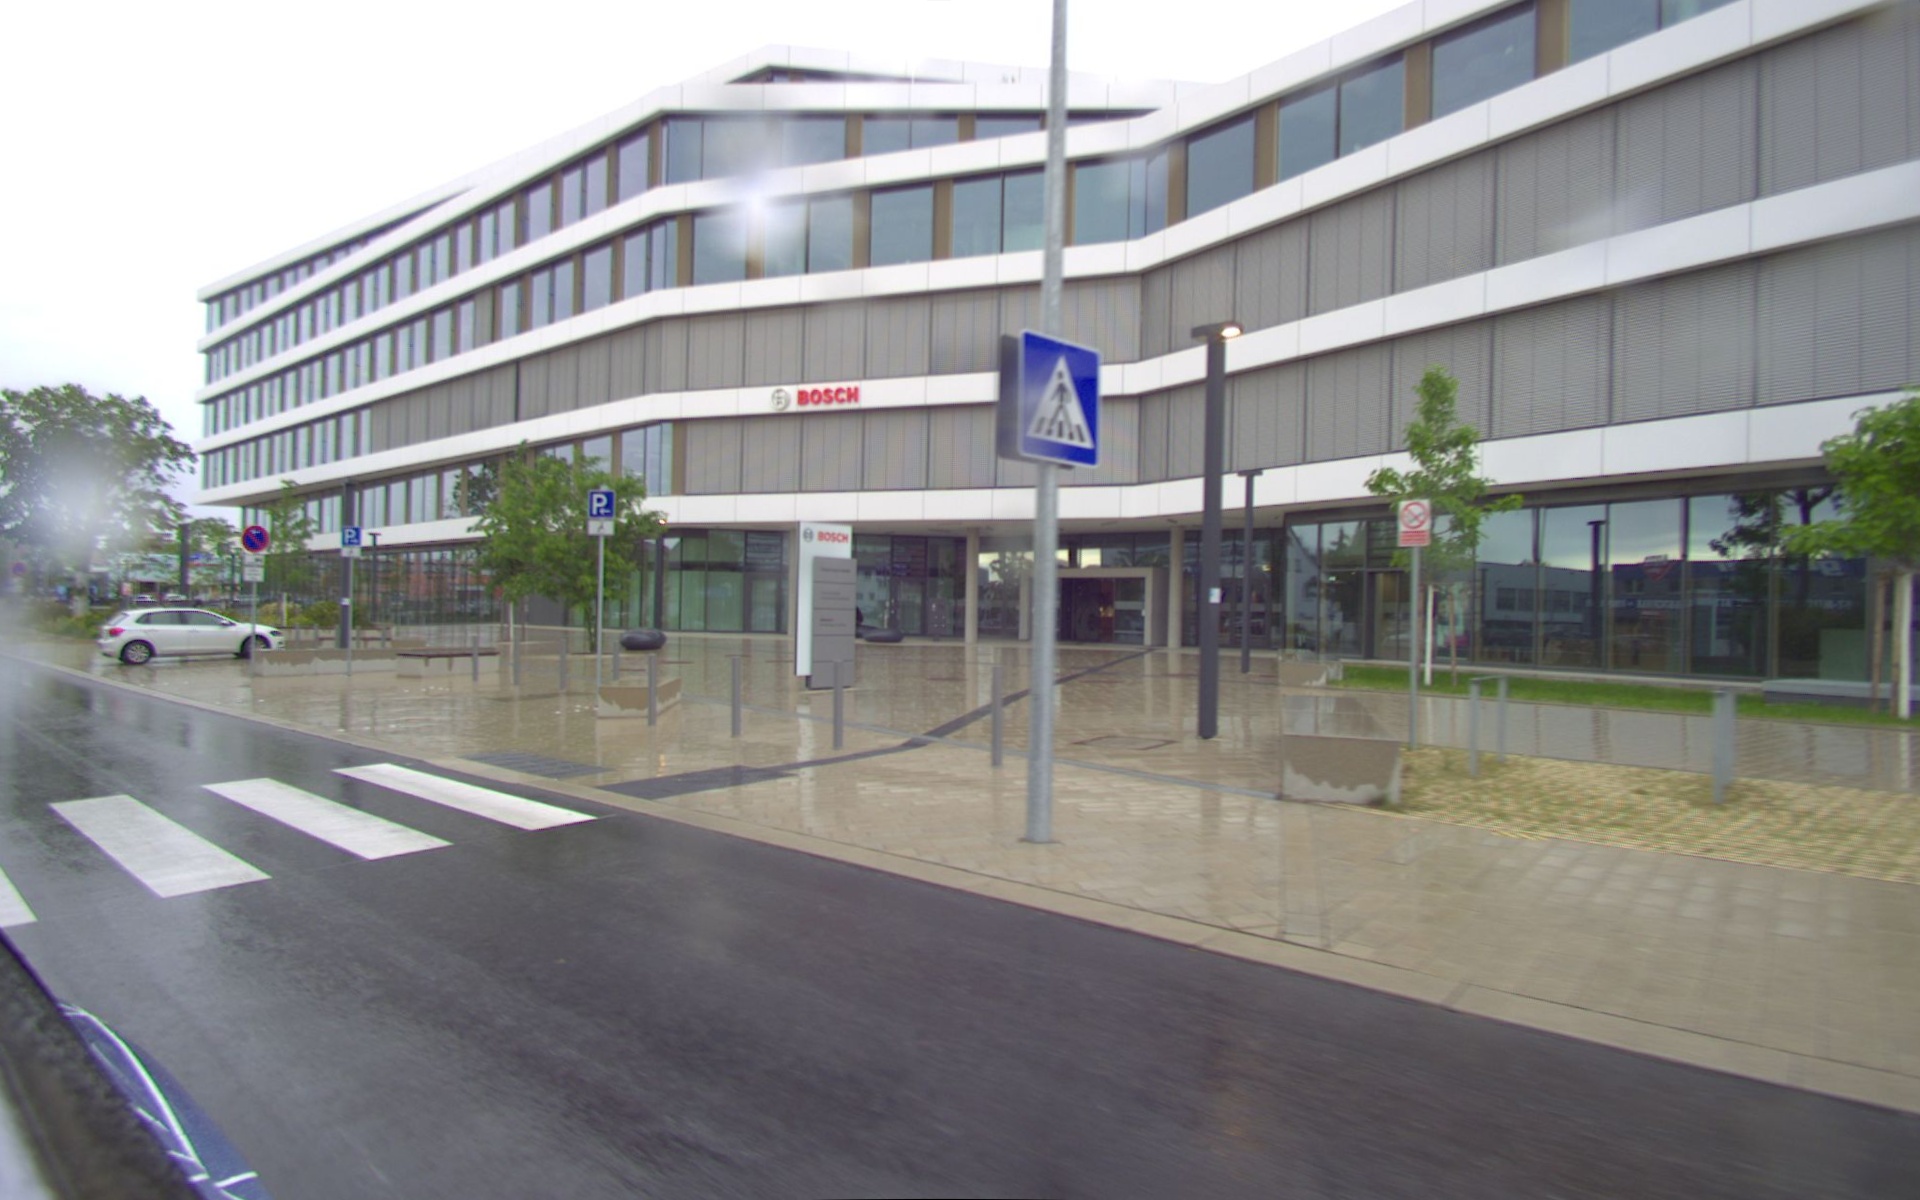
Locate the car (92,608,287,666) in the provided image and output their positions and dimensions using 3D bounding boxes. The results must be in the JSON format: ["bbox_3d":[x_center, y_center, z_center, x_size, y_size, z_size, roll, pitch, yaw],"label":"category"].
[{"bbox_3d":[-20.680,0.952,27.269,1.898,1.434,3.886,-1,-1,42],"label":"car"}]

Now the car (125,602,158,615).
[{"bbox_3d":[-89.814,0.901,111.130,1.855,1.305,4.013,-2,1,-25],"label":"car"}]

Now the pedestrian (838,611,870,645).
[{"bbox_3d":[-4.332,1.129,41.296,1.051,1.324,0.895,0,3,14],"label":"pedestrian"}]

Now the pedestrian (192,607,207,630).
[{"bbox_3d":[-60.254,1.448,80.181,0.957,1.716,0.716,2,4,45],"label":"pedestrian"}]
